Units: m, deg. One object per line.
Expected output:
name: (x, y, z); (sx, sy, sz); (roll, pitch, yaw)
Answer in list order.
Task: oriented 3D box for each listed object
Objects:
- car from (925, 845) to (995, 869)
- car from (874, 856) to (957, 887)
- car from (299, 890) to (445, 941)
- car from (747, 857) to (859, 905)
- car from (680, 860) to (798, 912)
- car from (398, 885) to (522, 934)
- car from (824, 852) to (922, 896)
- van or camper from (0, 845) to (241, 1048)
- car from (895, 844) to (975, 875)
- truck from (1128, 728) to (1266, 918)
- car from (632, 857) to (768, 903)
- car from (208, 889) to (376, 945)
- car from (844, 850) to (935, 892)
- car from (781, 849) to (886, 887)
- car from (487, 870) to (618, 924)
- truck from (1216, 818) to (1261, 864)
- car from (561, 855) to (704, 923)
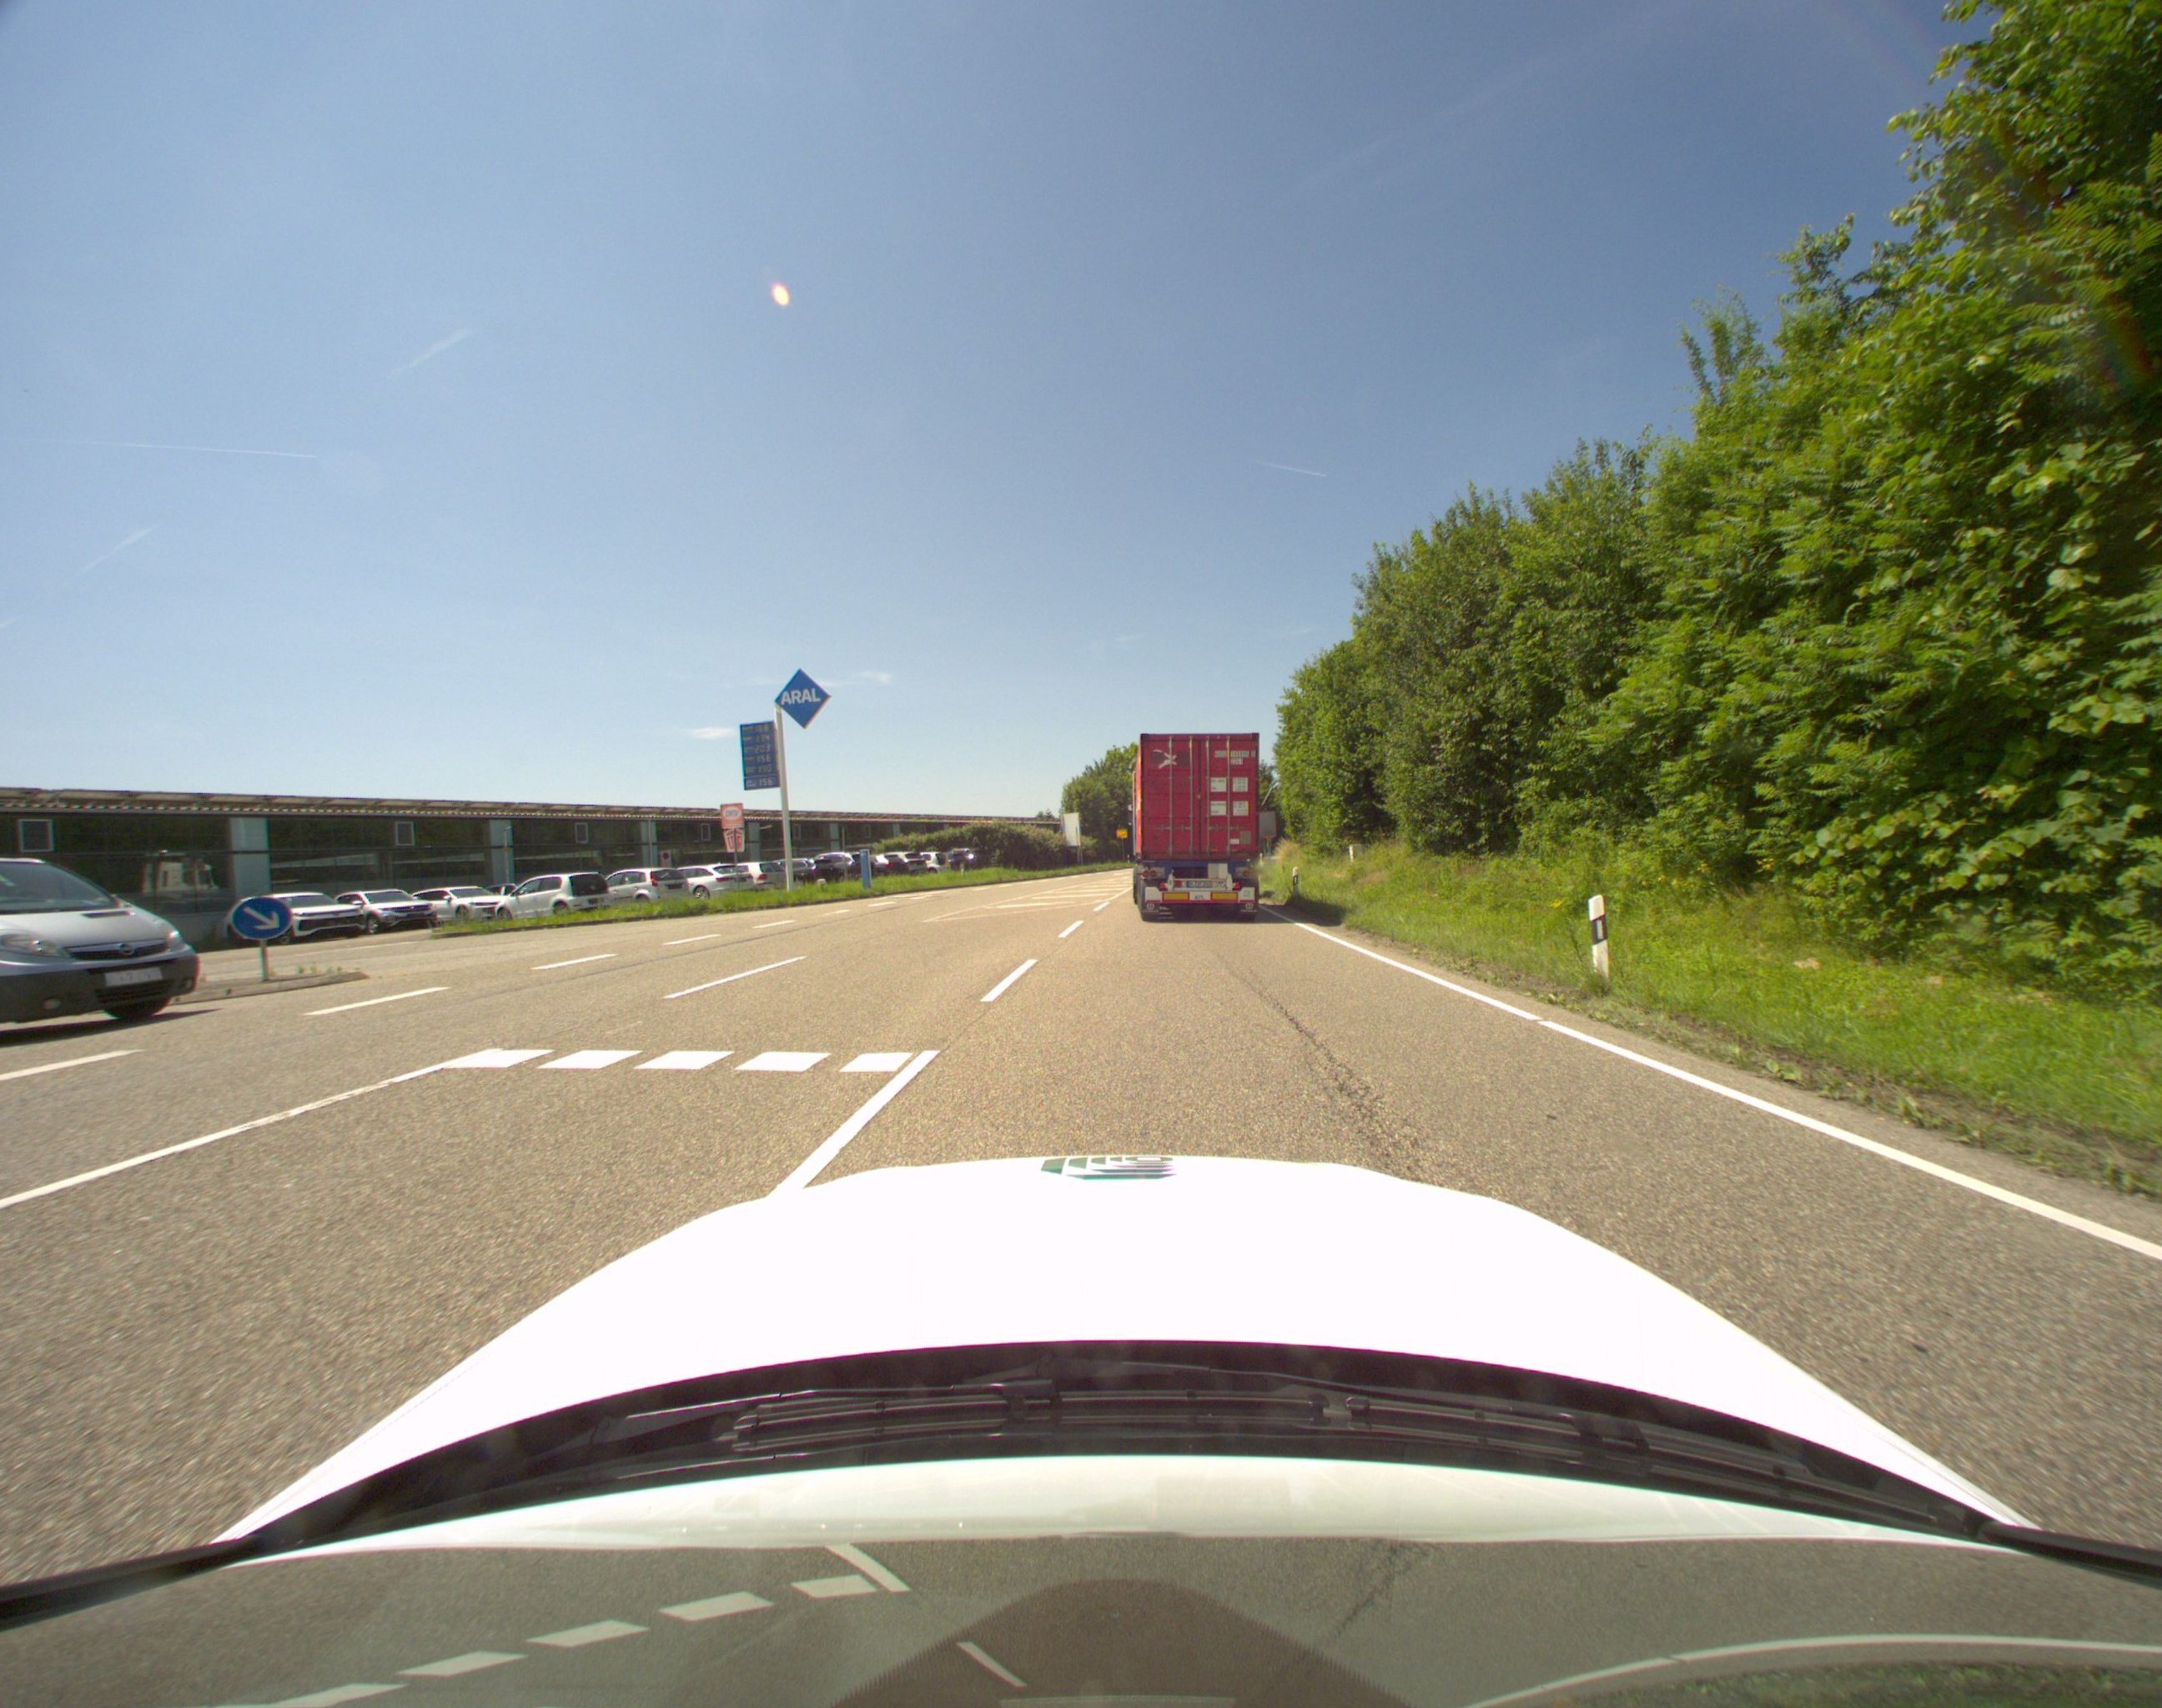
car: (-7.164, 0.173, 48.378); (3.664, 1.373, 1.813); (-1, 1, 22)
car: (-8.975, 0.926, 44.239); (3.954, 1.317, 1.842); (-5, 0, 19)
car: (-24.976, 2.163, 28.725); (4.090, 1.503, 2.010); (-3, 0, 19)
car: (-11.649, 1.130, 34.136); (3.952, 1.750, 2.011); (-3, 0, 21)
car: (-13.404, 1.250, 31.954); (3.952, 1.750, 1.945); (-3, 0, 21)
car: (-23.464, 2.089, 30.798); (3.953, 1.582, 1.827); (-4, -1, 20)
car: (-10.001, 0.967, 39.205); (3.953, 1.749, 2.011); (-5, 0, 21)
van or camper: (-12.375, 1.060, 8.485); (4.840, 1.904, 1.901); (-5, 0, -5)
car: (-8.269, 0.317, 46.286); (3.955, 1.362, 1.829); (-5, 0, 18)
truck: (2.740, -0.659, 23.221); (2.637, 3.806, 13.369); (-1, 0, 3)
car: (-13.859, 0.933, 29.661); (4.201, 1.359, 2.010); (-3, 0, 19)
car: (-25.645, 2.036, 26.487); (4.541, 1.503, 2.010); (-3, 0, 19)
car: (-9.795, 0.876, 41.732); (3.953, 1.749, 2.011); (-5, 0, 21)
car: (-11.045, 0.628, 36.368); (3.953, 1.332, 2.011); (-5, 0, 21)
car: (-16.540, 1.327, 25.507); (3.415, 1.441, 1.571); (-3, 0, 19)
truck: (14.757, -1.227, 75.365); (2.900, 3.716, 13.416); (-3, 0, 15)
car: (-15.136, 1.163, 27.542); (3.954, 2.013, 2.010); (-3, 0, 19)
